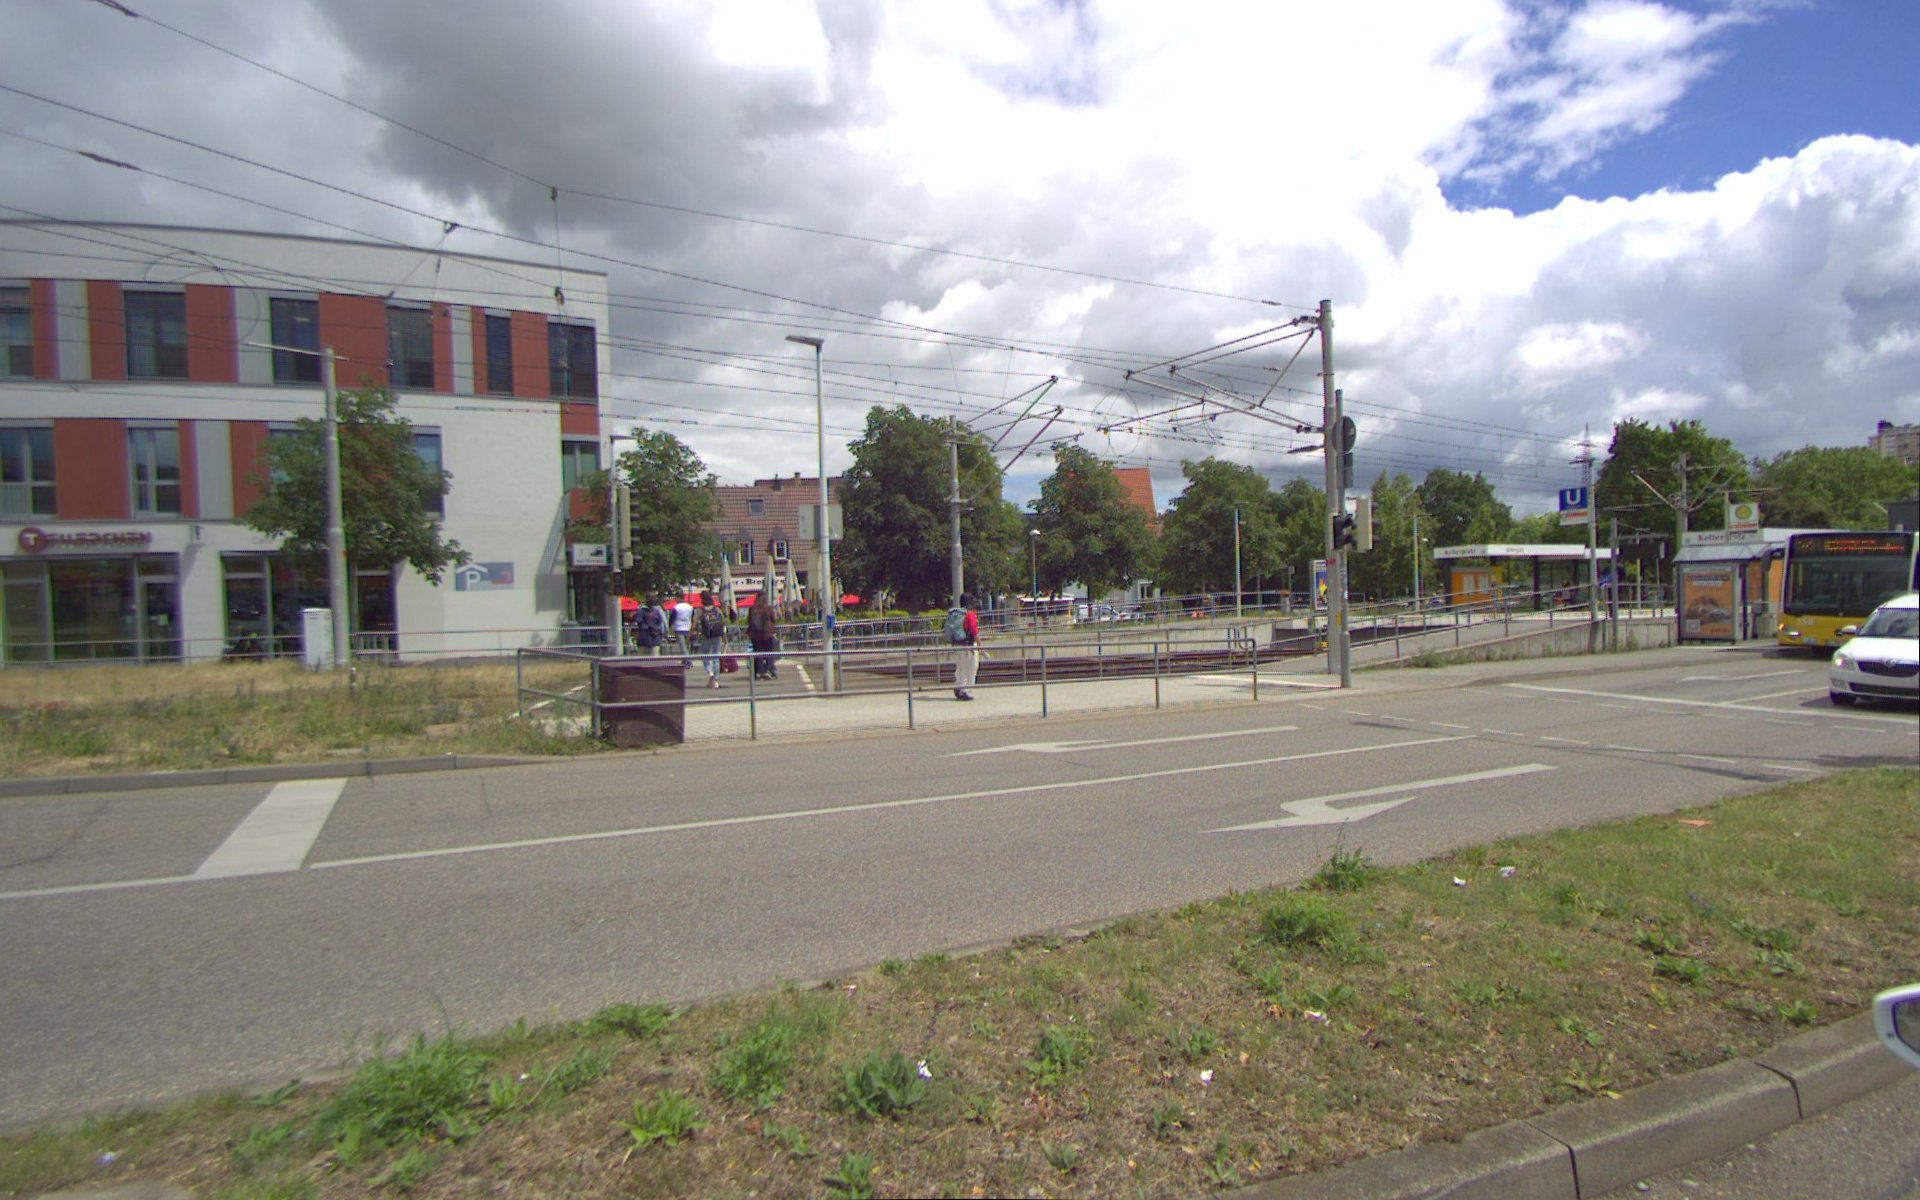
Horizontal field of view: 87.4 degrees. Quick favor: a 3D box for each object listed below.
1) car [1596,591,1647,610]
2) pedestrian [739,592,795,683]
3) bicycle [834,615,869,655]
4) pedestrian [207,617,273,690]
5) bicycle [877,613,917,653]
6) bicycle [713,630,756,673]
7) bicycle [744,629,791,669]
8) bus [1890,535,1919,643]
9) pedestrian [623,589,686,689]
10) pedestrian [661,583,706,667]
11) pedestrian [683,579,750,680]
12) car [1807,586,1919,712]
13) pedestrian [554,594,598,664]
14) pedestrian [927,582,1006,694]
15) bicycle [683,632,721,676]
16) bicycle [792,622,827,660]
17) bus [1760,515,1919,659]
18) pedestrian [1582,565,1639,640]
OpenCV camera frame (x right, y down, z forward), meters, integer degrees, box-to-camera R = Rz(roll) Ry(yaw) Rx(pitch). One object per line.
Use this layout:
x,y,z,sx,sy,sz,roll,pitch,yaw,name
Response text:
64.303,0.064,97.652,2.031,1.728,3.614,-3,1,-34,car
-3.545,0.680,18.418,0.823,1.617,0.639,0,0,41,pedestrian
-3.164,0.993,29.078,0.599,1.112,1.897,-1,-1,-19,bicycle
-20.805,1.524,29.059,1.119,2.040,1.255,-1,-1,-11,pedestrian
-1.877,0.954,29.617,0.683,1.112,1.897,-3,0,-19,bicycle
-6.223,1.395,27.699,0.685,1.112,1.891,0,-1,-28,bicycle
-5.436,1.352,28.297,0.686,1.077,1.889,0,-1,-31,bicycle
31.781,-0.344,30.824,8.867,3.111,2.710,0,0,-33,bus
-5.095,0.648,16.772,0.823,1.625,0.666,-1,-3,44,pedestrian
-6.254,0.555,22.685,0.763,1.846,0.902,-1,-1,-29,pedestrian
-4.135,0.493,17.053,0.909,1.658,0.858,0,-1,-29,pedestrian
14.314,0.632,14.827,4.034,1.671,1.689,-1,1,-33,car
-9.774,0.733,25.566,0.660,1.758,0.832,-1,-1,36,pedestrian
0.094,0.532,14.625,0.826,1.561,0.794,0,1,-35,pedestrian
-7.006,1.443,27.235,0.684,1.112,1.894,-1,-1,-24,bicycle
-4.339,1.151,28.868,0.683,1.043,1.898,-1,-1,-18,bicycle
23.989,-0.321,25.678,9.599,3.151,2.710,-1,0,-33,bus
18.221,0.078,28.137,1.017,2.040,0.966,0,-1,-30,pedestrian
